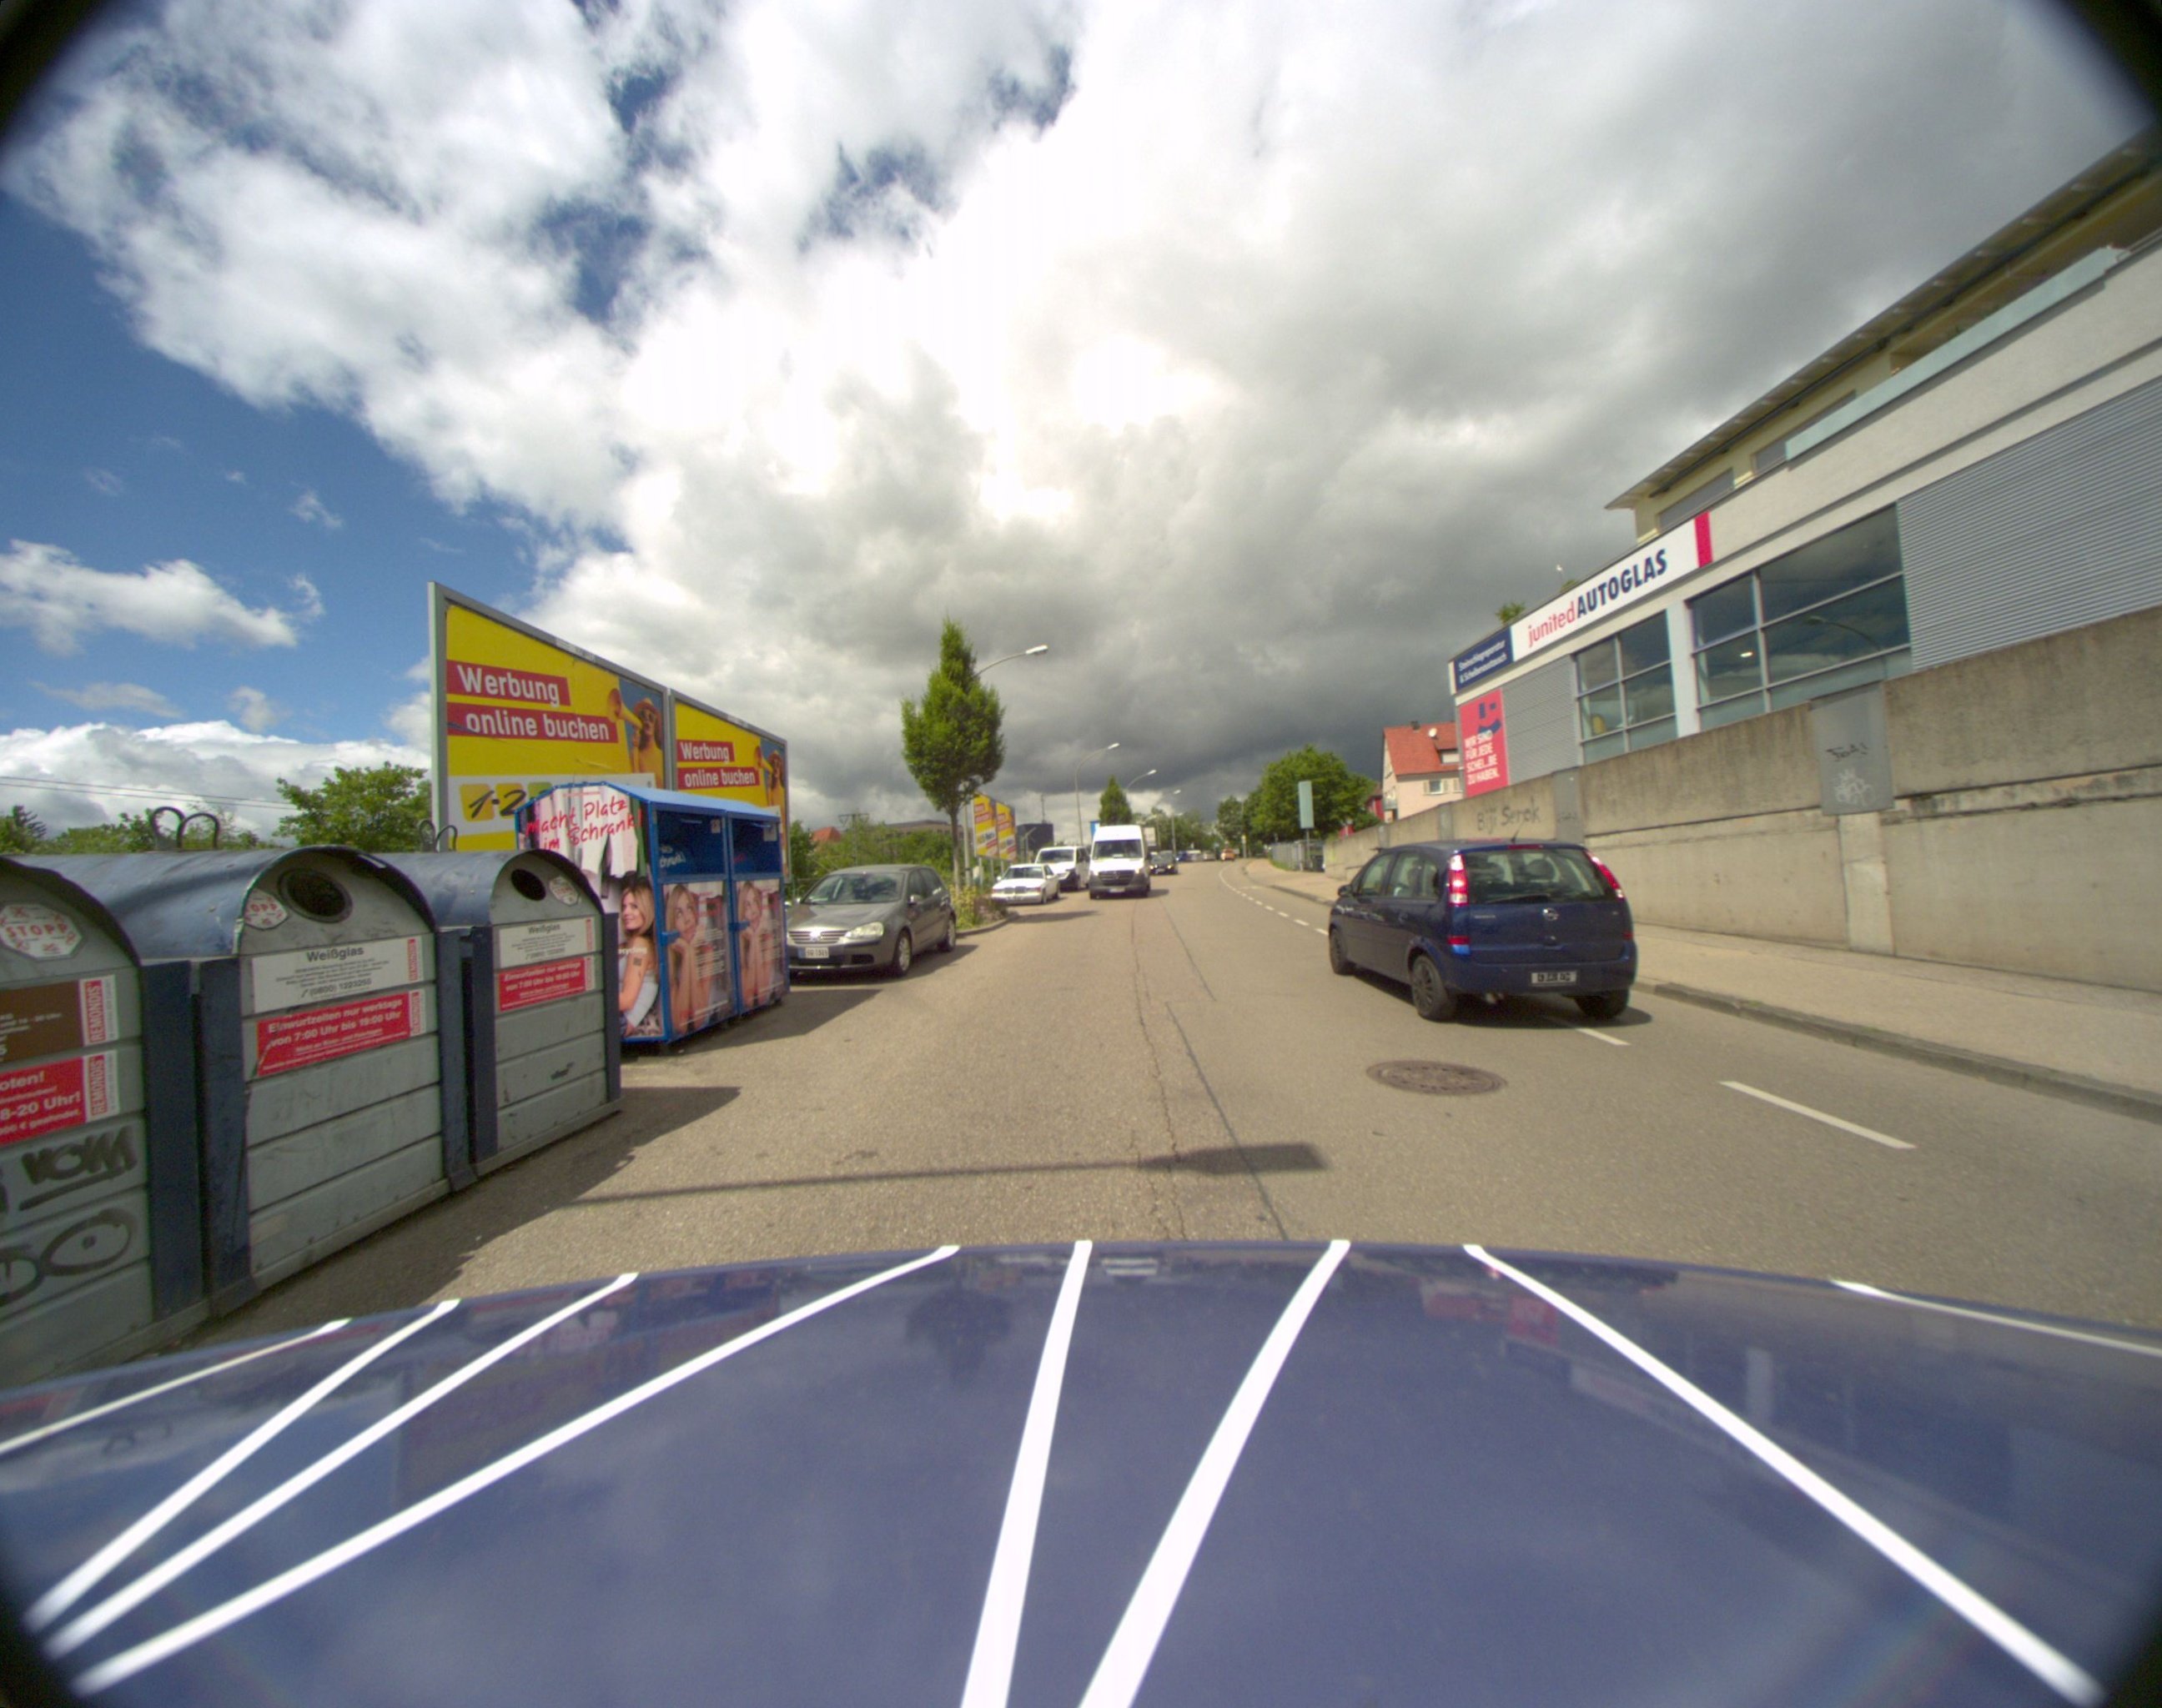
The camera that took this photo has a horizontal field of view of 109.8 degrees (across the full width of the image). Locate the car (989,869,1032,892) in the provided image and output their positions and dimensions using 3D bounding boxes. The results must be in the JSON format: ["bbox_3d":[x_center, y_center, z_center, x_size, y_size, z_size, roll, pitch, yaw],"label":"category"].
[{"bbox_3d":[-5.122,1.912,55.848,1.819,1.343,4.559,-3,0,11],"label":"car"}]

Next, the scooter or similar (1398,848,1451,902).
[{"bbox_3d":[8.558,0.502,18.988,0.520,1.268,1.383,-5,1,-4],"label":"scooter or similar"}]

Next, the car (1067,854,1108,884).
[{"bbox_3d":[0.406,0.769,41.090,1.596,1.442,3.981,-3,0,8],"label":"car"}]

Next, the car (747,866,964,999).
[{"bbox_3d":[-3.042,0.985,11.198,1.659,1.477,4.046,-1,1,5],"label":"car"}]

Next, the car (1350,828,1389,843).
[{"bbox_3d":[33.385,-2.178,87.889,4.013,1.497,1.587,-3,1,15],"label":"car"}]

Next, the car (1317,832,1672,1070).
[{"bbox_3d":[3.795,0.741,7.791,1.630,1.806,3.780,-2,1,2],"label":"car"}]

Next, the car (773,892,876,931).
[{"bbox_3d":[-10.949,2.454,32.461,3.991,1.482,1.648,-3,1,23],"label":"car"}]

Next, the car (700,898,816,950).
[{"bbox_3d":[-11.669,2.480,27.391,3.990,1.630,1.643,-2,1,28],"label":"car"}]

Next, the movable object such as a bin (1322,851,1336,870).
[{"bbox_3d":[13.793,0.349,42.327,0.663,1.074,0.517,1,1,8],"label":"movable object such as a bin"}]

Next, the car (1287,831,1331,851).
[{"bbox_3d":[22.742,-1.330,75.970,3.952,1.766,1.524,-3,1,8],"label":"car"}]

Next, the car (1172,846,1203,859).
[{"bbox_3d":[18.971,-0.316,135.183,5.135,1.958,1.958,-3,1,-20],"label":"car"}]

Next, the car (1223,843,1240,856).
[{"bbox_3d":[18.725,-0.607,94.512,1.603,1.482,3.686,-3,1,17],"label":"car"}]

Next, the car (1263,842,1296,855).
[{"bbox_3d":[25.052,-0.680,95.864,3.852,1.497,1.587,-3,1,15],"label":"car"}]

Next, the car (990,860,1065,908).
[{"bbox_3d":[-1.740,0.956,26.089,1.640,1.379,4.207,-3,0,8],"label":"car"}]

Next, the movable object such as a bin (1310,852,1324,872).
[{"bbox_3d":[13.195,0.436,42.452,0.663,1.074,0.517,1,1,8],"label":"movable object such as a bin"}]

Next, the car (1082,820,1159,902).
[{"bbox_3d":[1.603,0.188,27.915,2.081,2.576,6.066,-3,1,9],"label":"car"}]

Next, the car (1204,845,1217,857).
[{"bbox_3d":[19.066,-0.448,111.749,1.645,1.523,4.225,-3,0,11],"label":"car"}]

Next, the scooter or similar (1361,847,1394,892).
[{"bbox_3d":[8.869,0.450,22.767,0.558,1.268,1.306,-3,1,6],"label":"scooter or similar"}]

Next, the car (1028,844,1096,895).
[{"bbox_3d":[-0.722,0.624,33.984,1.978,1.992,5.550,-3,0,9],"label":"car"}]

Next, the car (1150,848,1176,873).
[{"bbox_3d":[5.578,0.399,51.226,1.584,1.497,3.959,-3,0,7],"label":"car"}]
